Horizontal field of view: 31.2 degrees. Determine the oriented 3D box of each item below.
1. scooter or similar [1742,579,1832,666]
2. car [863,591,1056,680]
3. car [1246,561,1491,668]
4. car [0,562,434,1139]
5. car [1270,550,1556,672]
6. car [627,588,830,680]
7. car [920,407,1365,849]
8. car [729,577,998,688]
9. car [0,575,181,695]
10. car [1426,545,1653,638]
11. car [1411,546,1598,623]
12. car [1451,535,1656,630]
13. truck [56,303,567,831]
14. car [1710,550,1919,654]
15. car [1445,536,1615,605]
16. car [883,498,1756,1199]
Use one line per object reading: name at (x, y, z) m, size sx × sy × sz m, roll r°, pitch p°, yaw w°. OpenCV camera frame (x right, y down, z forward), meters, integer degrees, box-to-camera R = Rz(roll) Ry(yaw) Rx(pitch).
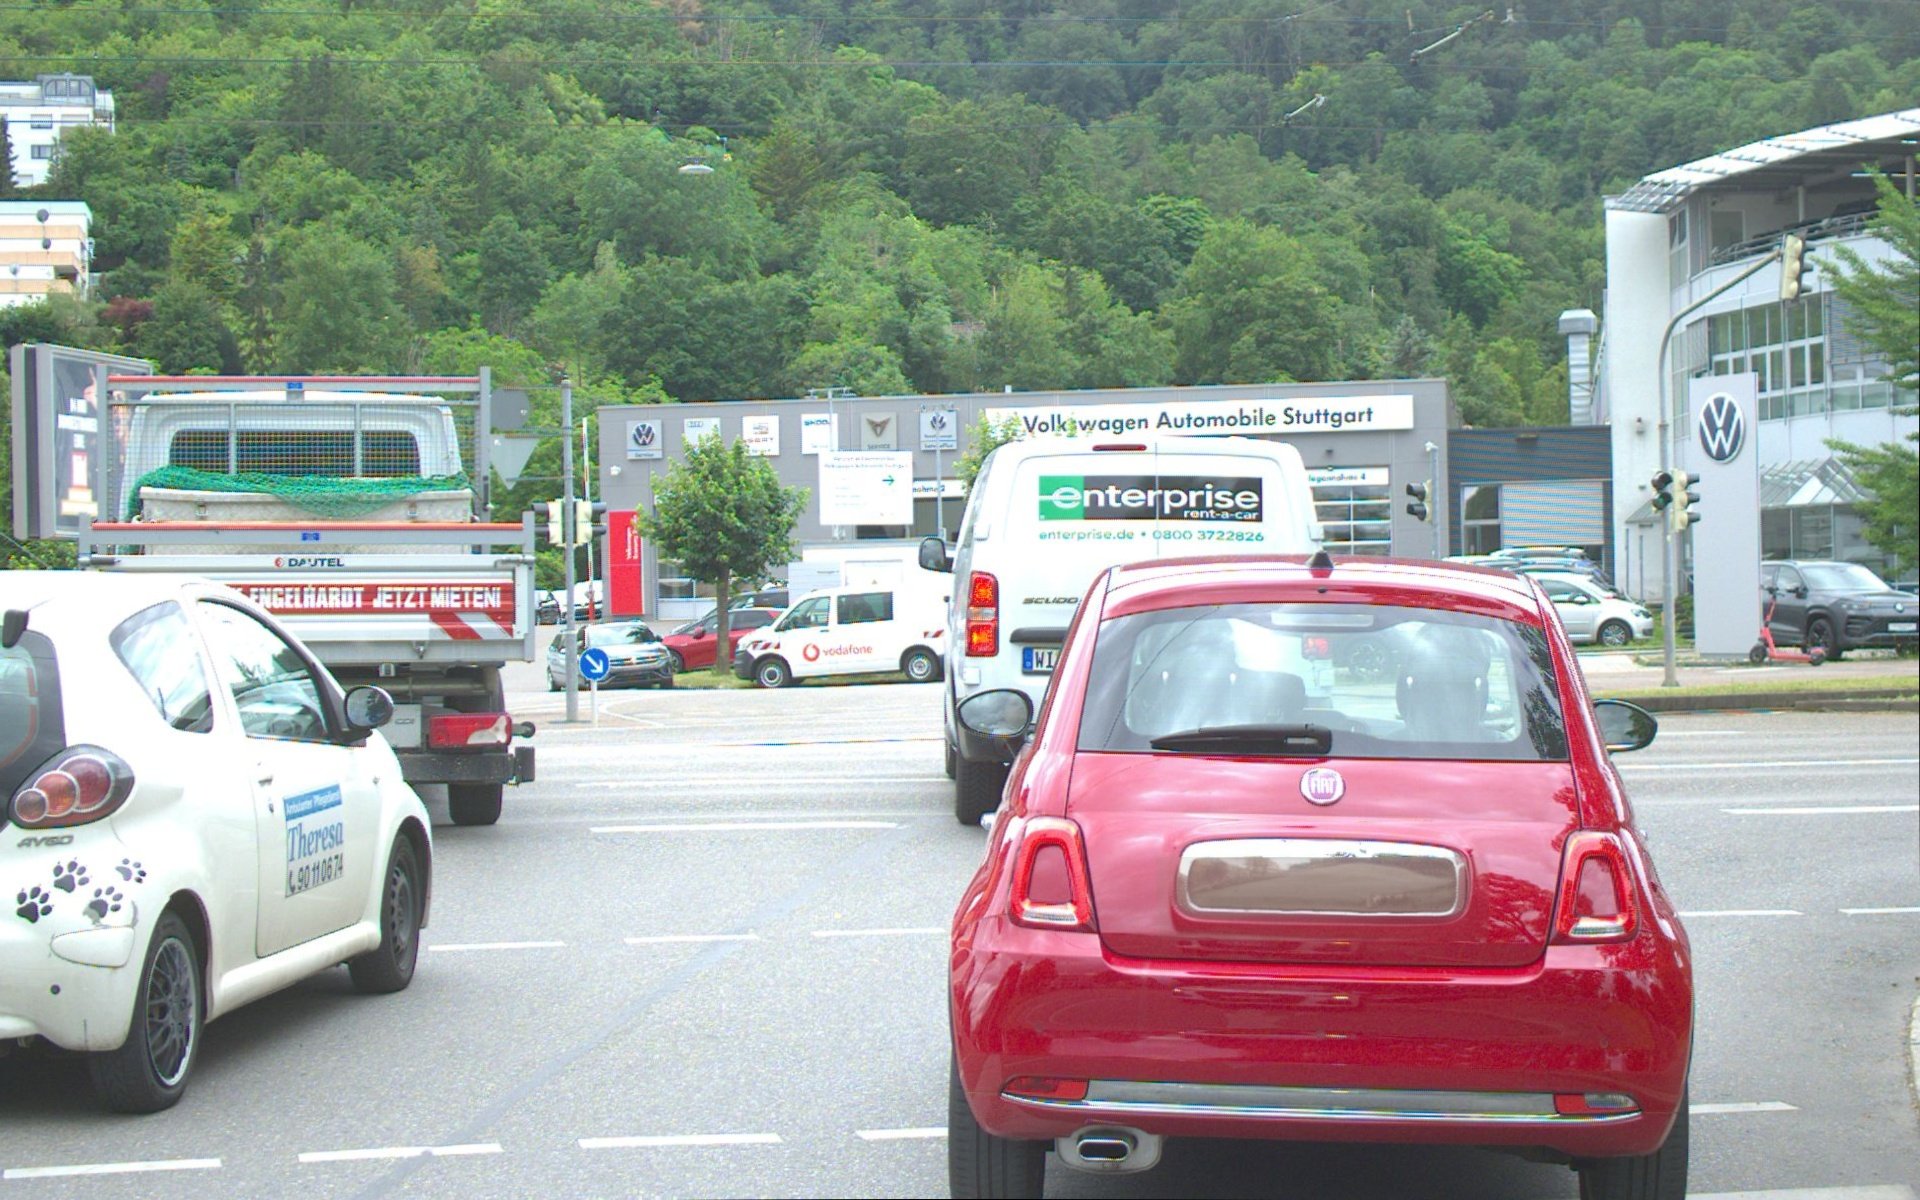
scooter or similar at (12.765, 0.349, 53.088) m, size 1.200 × 1.284 × 0.575 m, roll 2°, pitch -1°, yaw 1°
car at (0.008, 0.800, 76.299) m, size 3.988 × 1.788 × 1.852 m, roll 2°, pitch -1°, yaw 8°
car at (7.281, 0.272, 61.512) m, size 3.986 × 1.700 × 2.000 m, roll 3°, pitch -1°, yaw -3°
car at (-2.767, 0.632, 10.346) m, size 1.593 × 1.415 × 3.373 m, roll -2°, pitch 1°, yaw 4°
car at (6.955, 0.137, 52.706) m, size 3.991 × 1.634 × 1.998 m, roll 2°, pitch 3°, yaw 19°
car at (-5.504, 0.819, 82.026) m, size 4.496 × 1.990 × 1.999 m, roll 2°, pitch -1°, yaw 5°
car at (0.840, 0.073, 18.776) m, size 1.998 × 2.033 × 4.832 m, roll 2°, pitch 1°, yaw -1°
car at (-1.907, 0.673, 68.500) m, size 5.003 × 2.007 × 1.999 m, roll -2°, pitch -2°, yaw 10°
car at (-18.011, 0.683, 69.078) m, size 4.494 × 2.235 × 2.000 m, roll 3°, pitch -1°, yaw -13°
car at (12.164, -0.170, 72.395) m, size 4.496 × 1.723 × 1.999 m, roll 2°, pitch -1°, yaw 5°
car at (13.802, -0.375, 87.401) m, size 4.496 × 1.723 × 1.999 m, roll 2°, pitch -1°, yaw 5°
car at (13.811, -0.394, 80.203) m, size 4.496 × 1.990 × 1.999 m, roll 2°, pitch -1°, yaw 5°
truck at (-3.612, -0.183, 18.725) m, size 2.313 × 2.413 × 5.656 m, roll 0°, pitch 1°, yaw -13°
car at (14.192, 0.039, 55.945) m, size 1.993 × 1.634 × 4.001 m, roll 0°, pitch 0°, yaw -22°
car at (16.010, -0.821, 96.749) m, size 4.496 × 1.723 × 1.999 m, roll 2°, pitch -1°, yaw 5°
car at (0.967, 0.593, 8.948) m, size 1.698 × 1.520 × 3.999 m, roll 3°, pitch 0°, yaw 7°
